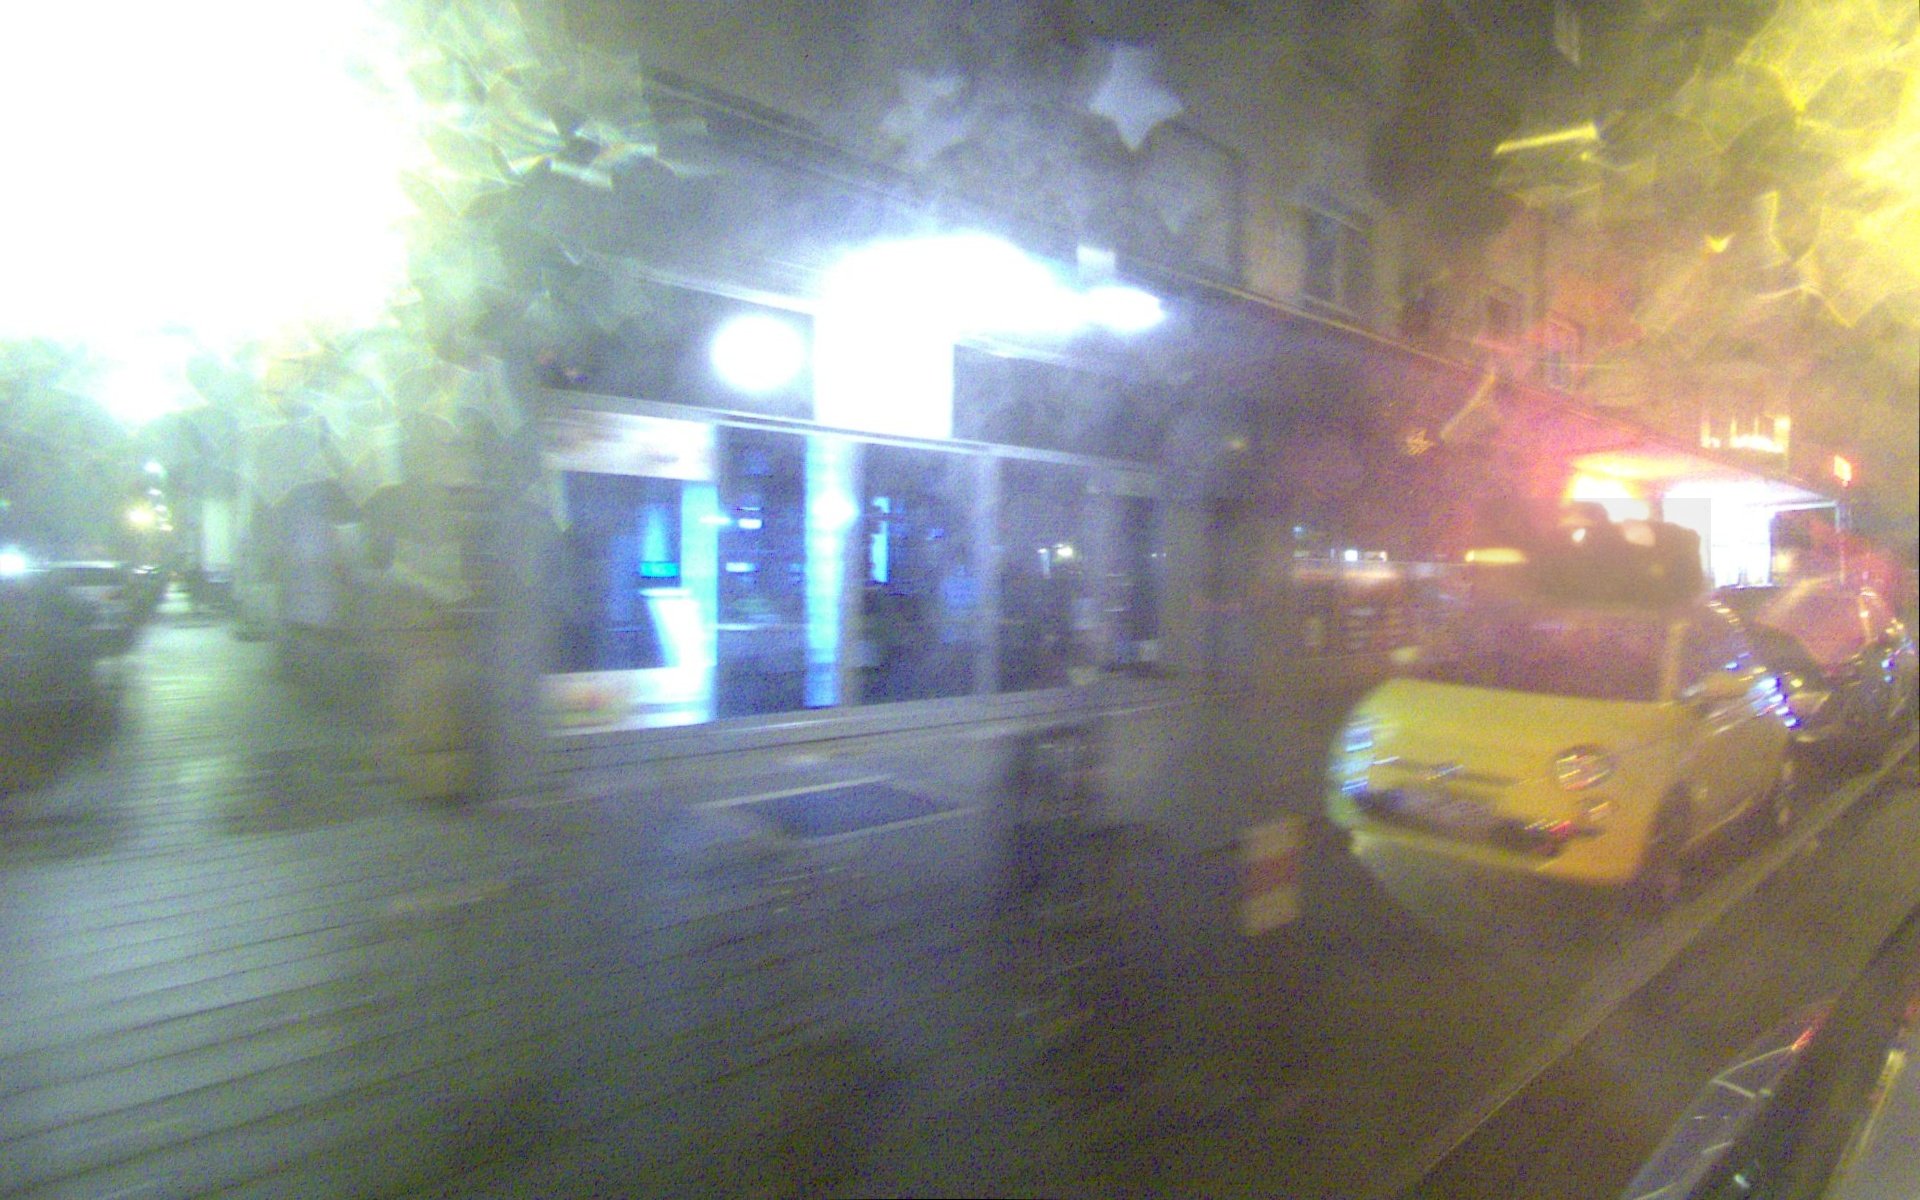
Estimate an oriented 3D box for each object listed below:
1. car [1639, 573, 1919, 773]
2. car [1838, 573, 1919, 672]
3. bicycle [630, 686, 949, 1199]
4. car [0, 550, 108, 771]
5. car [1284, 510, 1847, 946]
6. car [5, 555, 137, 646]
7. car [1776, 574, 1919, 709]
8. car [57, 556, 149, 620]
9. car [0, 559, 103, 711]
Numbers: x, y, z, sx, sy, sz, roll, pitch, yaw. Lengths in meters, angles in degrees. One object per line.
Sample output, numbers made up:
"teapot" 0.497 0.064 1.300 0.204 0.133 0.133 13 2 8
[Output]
"car" 8.253 0.519 9.836 4.089 1.525 1.689 -1 3 -40
"car" 16.407 0.323 17.034 4.089 1.525 1.845 -1 3 -40
"bicycle" -0.547 0.857 3.077 0.605 0.905 2.279 0 2 -11
"car" -8.133 0.423 8.131 1.861 1.504 3.995 -1 0 -39
"car" 3.694 0.454 5.908 3.789 1.743 1.676 -1 2 -40
"car" -17.584 0.009 20.173 1.810 1.623 4.154 -1 0 -39
"car" 12.305 0.442 13.196 4.089 1.525 1.845 -1 3 -40
"car" -23.531 -0.306 27.882 1.810 1.623 4.154 -1 0 -39
"car" -11.140 0.398 11.536 1.964 1.527 3.995 -1 0 -39
